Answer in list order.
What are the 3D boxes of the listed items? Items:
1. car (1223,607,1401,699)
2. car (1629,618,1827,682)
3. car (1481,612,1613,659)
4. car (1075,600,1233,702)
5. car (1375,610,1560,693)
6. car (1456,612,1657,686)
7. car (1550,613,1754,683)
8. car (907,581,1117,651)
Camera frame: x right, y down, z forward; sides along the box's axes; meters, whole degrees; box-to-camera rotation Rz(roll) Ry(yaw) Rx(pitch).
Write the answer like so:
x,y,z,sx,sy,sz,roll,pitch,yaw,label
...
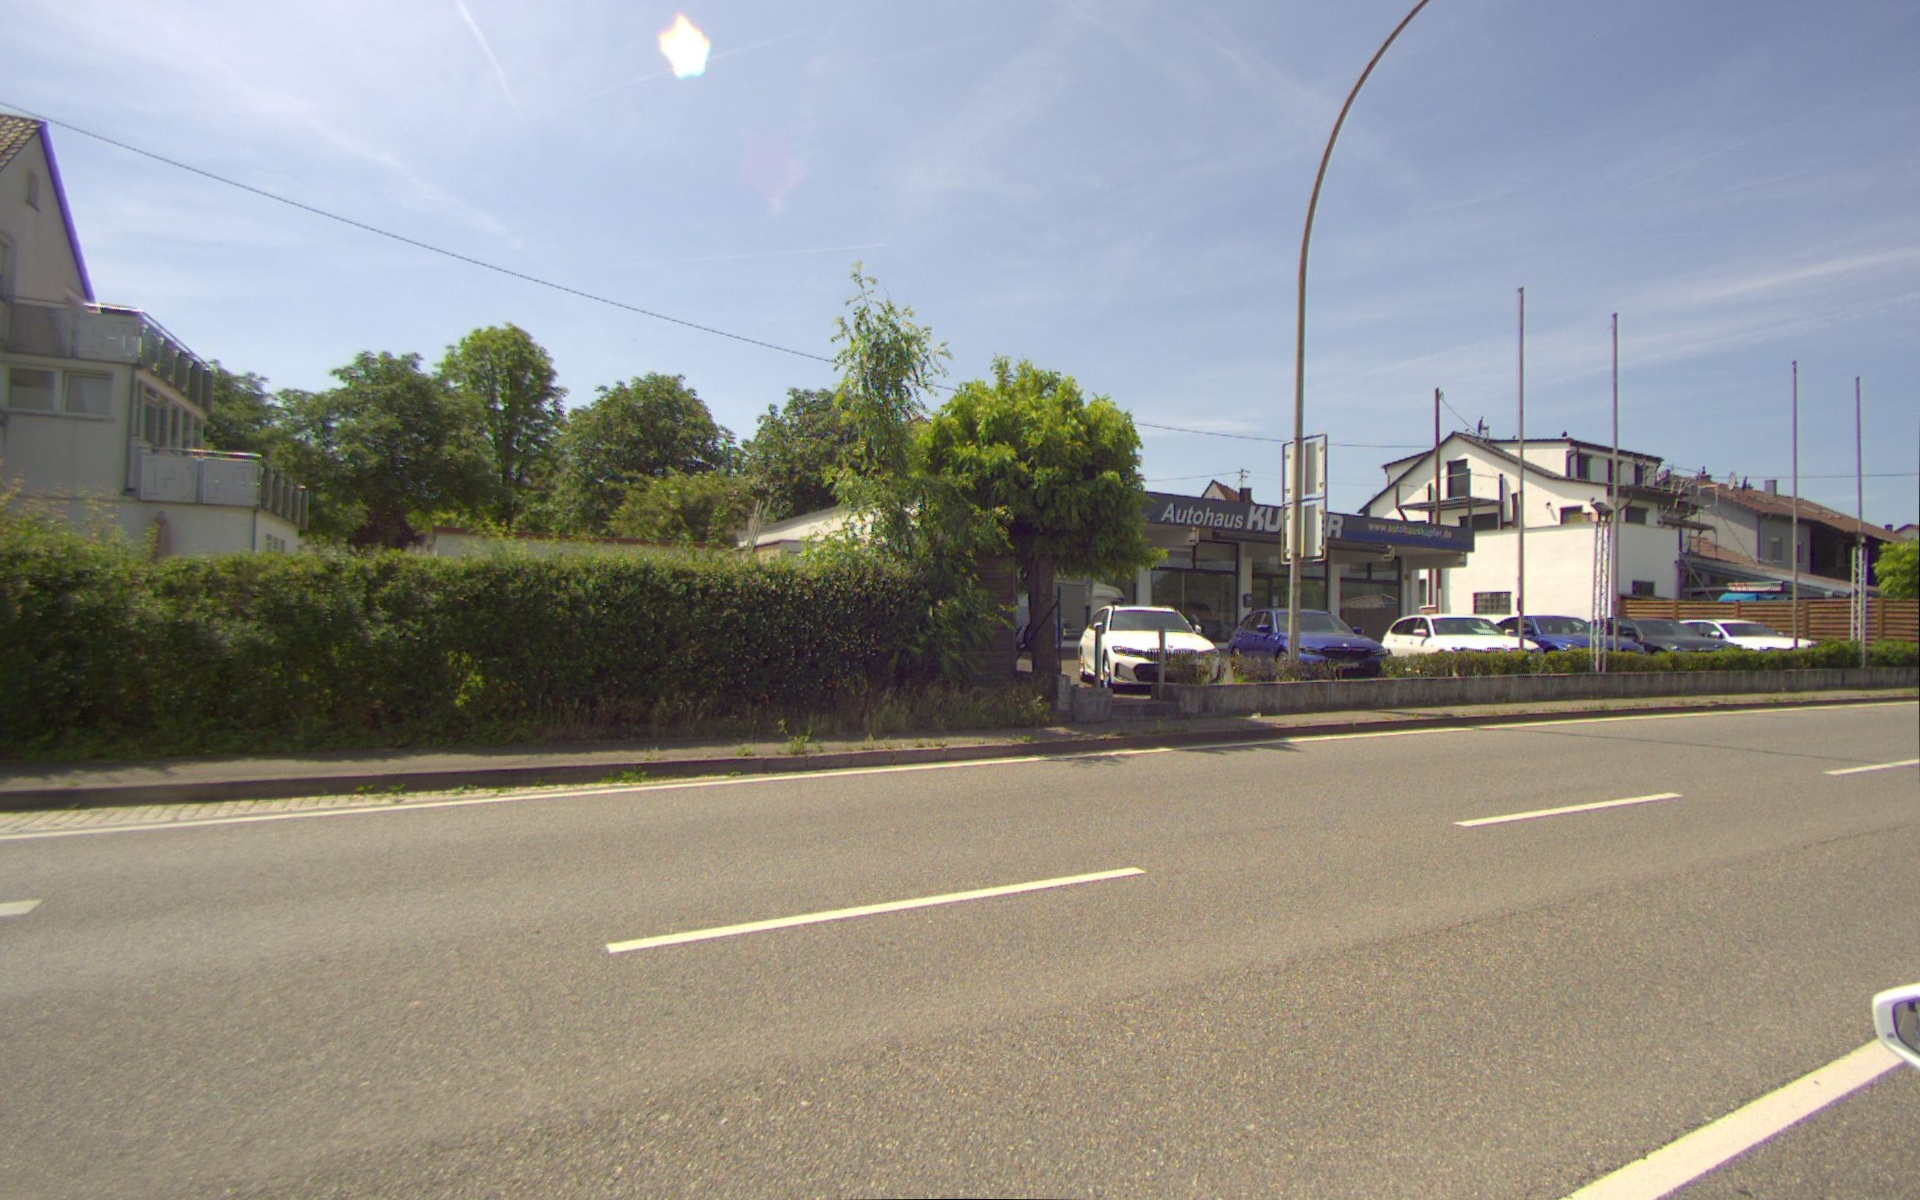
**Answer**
x,y,z,sx,sy,sz,roll,pitch,yaw,label
6.503,0.903,19.112,1.820,1.467,4.342,2,0,0,car
20.588,1.283,27.207,1.821,1.467,4.340,2,0,-4,car
21.147,1.249,36.370,1.804,1.530,3.987,1,0,-15,car
3.188,0.776,17.447,1.820,1.467,4.580,2,0,0,car
10.506,0.993,21.214,1.820,1.467,4.517,1,0,3,car
13.815,1.071,23.610,1.822,1.467,4.339,2,0,-5,car
17.043,1.129,25.053,1.862,1.467,4.340,2,0,-4,car
1.206,0.364,23.267,4.511,1.484,1.802,1,0,-20,car
